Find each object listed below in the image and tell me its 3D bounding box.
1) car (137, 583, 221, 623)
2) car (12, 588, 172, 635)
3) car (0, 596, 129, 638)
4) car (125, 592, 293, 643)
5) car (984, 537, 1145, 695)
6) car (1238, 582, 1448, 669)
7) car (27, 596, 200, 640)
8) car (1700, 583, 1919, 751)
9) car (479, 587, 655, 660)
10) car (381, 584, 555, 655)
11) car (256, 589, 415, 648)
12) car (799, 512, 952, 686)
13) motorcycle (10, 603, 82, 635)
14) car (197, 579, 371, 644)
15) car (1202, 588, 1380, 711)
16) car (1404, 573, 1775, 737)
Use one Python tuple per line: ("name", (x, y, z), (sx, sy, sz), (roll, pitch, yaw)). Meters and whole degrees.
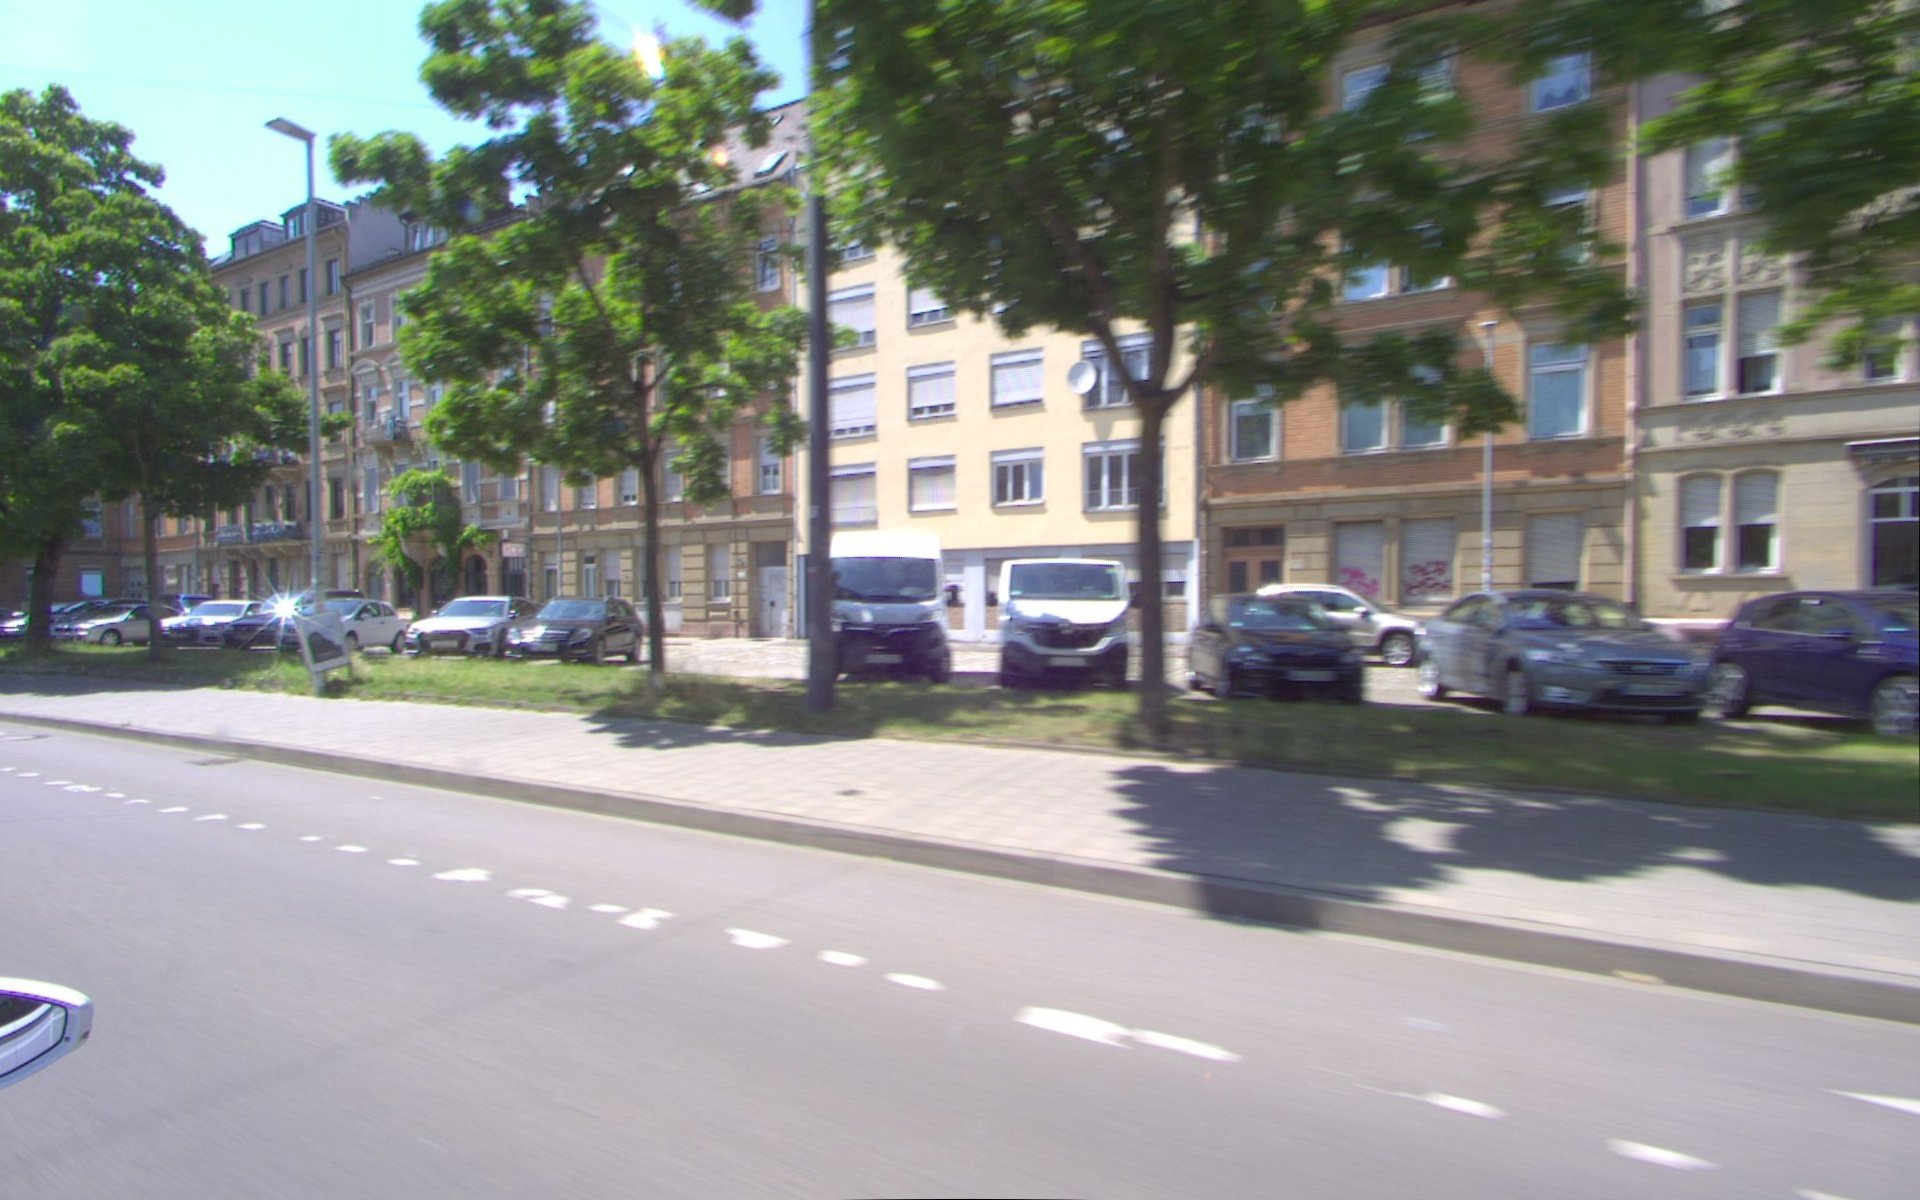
("car", (-39.066, 0.154, 50.039), (4.587, 1.929, 1.916), (0, 0, 33))
("car", (-29.546, 0.392, 34.264), (1.763, 1.489, 4.092), (0, -1, 5))
("car", (-32.075, 0.583, 35.373), (1.552, 1.394, 4.348), (0, -1, 6))
("car", (-21.489, 0.505, 28.934), (2.110, 1.330, 4.782), (0, -1, -13))
("car", (1.460, 0.234, 15.163), (2.036, 1.999, 4.849), (0, -1, 3))
("car", (8.131, 0.513, 21.349), (3.941, 1.706, 1.816), (0, -1, 31))
("car", (-27.346, 0.587, 32.538), (1.935, 1.330, 3.998), (0, -1, 10))
("car", (9.277, 0.591, 9.732), (1.789, 1.418, 3.998), (0, -1, 11))
("car", (-8.032, 0.472, 20.967), (1.934, 1.356, 4.432), (0, -1, 0))
("car", (-10.957, 0.434, 22.732), (1.934, 1.446, 4.692), (0, -1, -4))
("car", (-16.247, 0.483, 26.301), (1.679, 1.418, 4.000), (0, -1, 0))
("car", (-1.431, 0.033, 17.257), (2.195, 2.493, 5.551), (0, -1, -4))
("motorcycle", (-35.996, 0.746, 39.478), (2.064, 1.252, 0.805), (0, 0, -43))
("car", (-18.877, 0.334, 28.212), (1.934, 1.683, 4.000), (0, -1, 6))
("car", (4.301, 0.594, 13.596), (1.789, 1.405, 3.998), (0, -1, 11))
("car", (6.908, 0.538, 11.702), (1.927, 1.516, 4.632), (0, -1, 8))
